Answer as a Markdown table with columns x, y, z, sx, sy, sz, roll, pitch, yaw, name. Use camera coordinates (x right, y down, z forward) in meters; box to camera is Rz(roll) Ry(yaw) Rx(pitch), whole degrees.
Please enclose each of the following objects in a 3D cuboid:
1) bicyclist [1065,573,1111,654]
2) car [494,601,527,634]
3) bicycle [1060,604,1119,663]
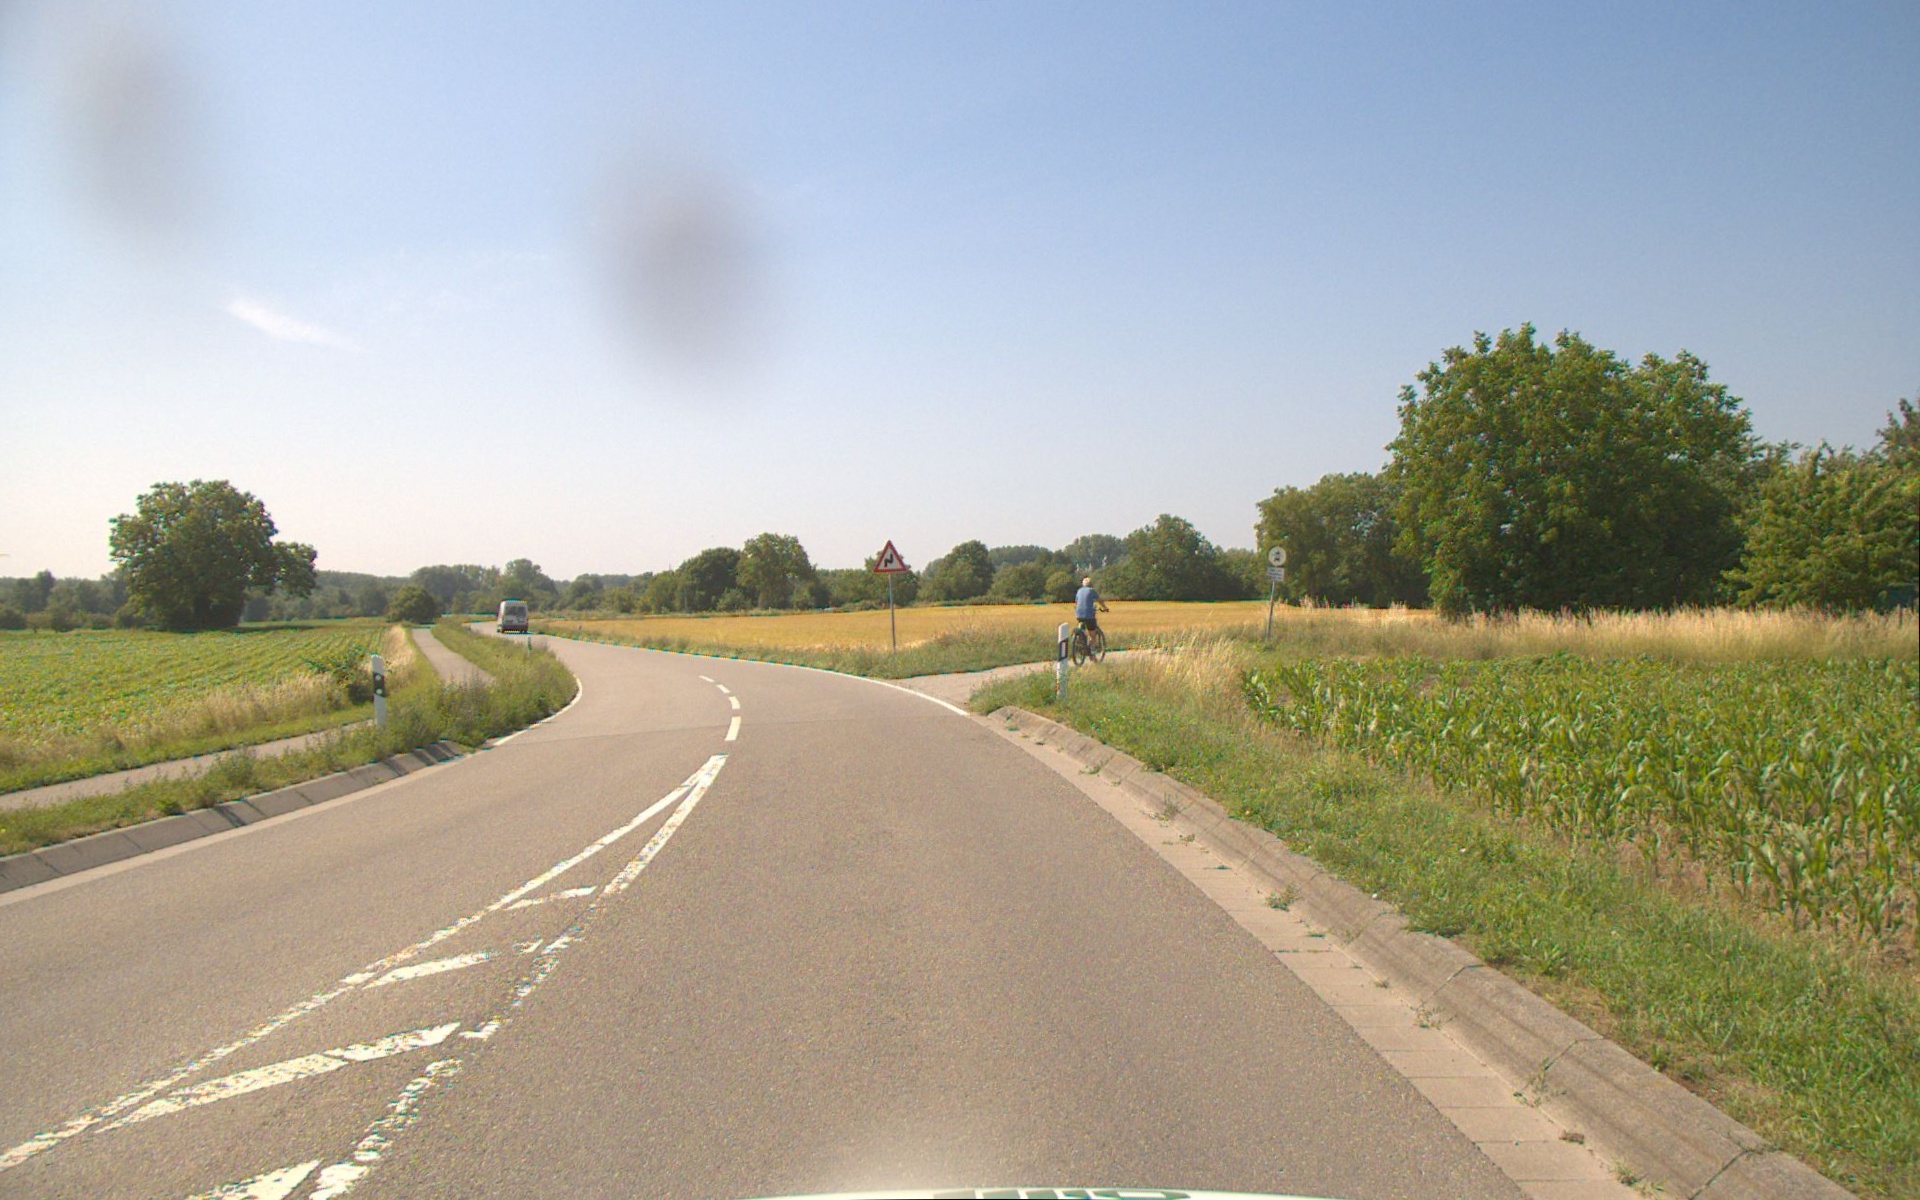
| x | y | z | sx | sy | sz | roll | pitch | yaw | name |
| --- | --- | --- | --- | --- | --- | --- | --- | --- | --- |
| 2.607 | 0.272 | 33.660 | 0.659 | 1.601 | 0.734 | -2 | -1 | 28 | bicyclist |
| -35.152 | 1.340 | 129.312 | 2.073 | 2.408 | 5.654 | -2 | 0 | -19 | car |
| 2.648 | 0.669 | 33.711 | 0.510 | 1.135 | 1.767 | -2 | 0 | 28 | bicycle |
